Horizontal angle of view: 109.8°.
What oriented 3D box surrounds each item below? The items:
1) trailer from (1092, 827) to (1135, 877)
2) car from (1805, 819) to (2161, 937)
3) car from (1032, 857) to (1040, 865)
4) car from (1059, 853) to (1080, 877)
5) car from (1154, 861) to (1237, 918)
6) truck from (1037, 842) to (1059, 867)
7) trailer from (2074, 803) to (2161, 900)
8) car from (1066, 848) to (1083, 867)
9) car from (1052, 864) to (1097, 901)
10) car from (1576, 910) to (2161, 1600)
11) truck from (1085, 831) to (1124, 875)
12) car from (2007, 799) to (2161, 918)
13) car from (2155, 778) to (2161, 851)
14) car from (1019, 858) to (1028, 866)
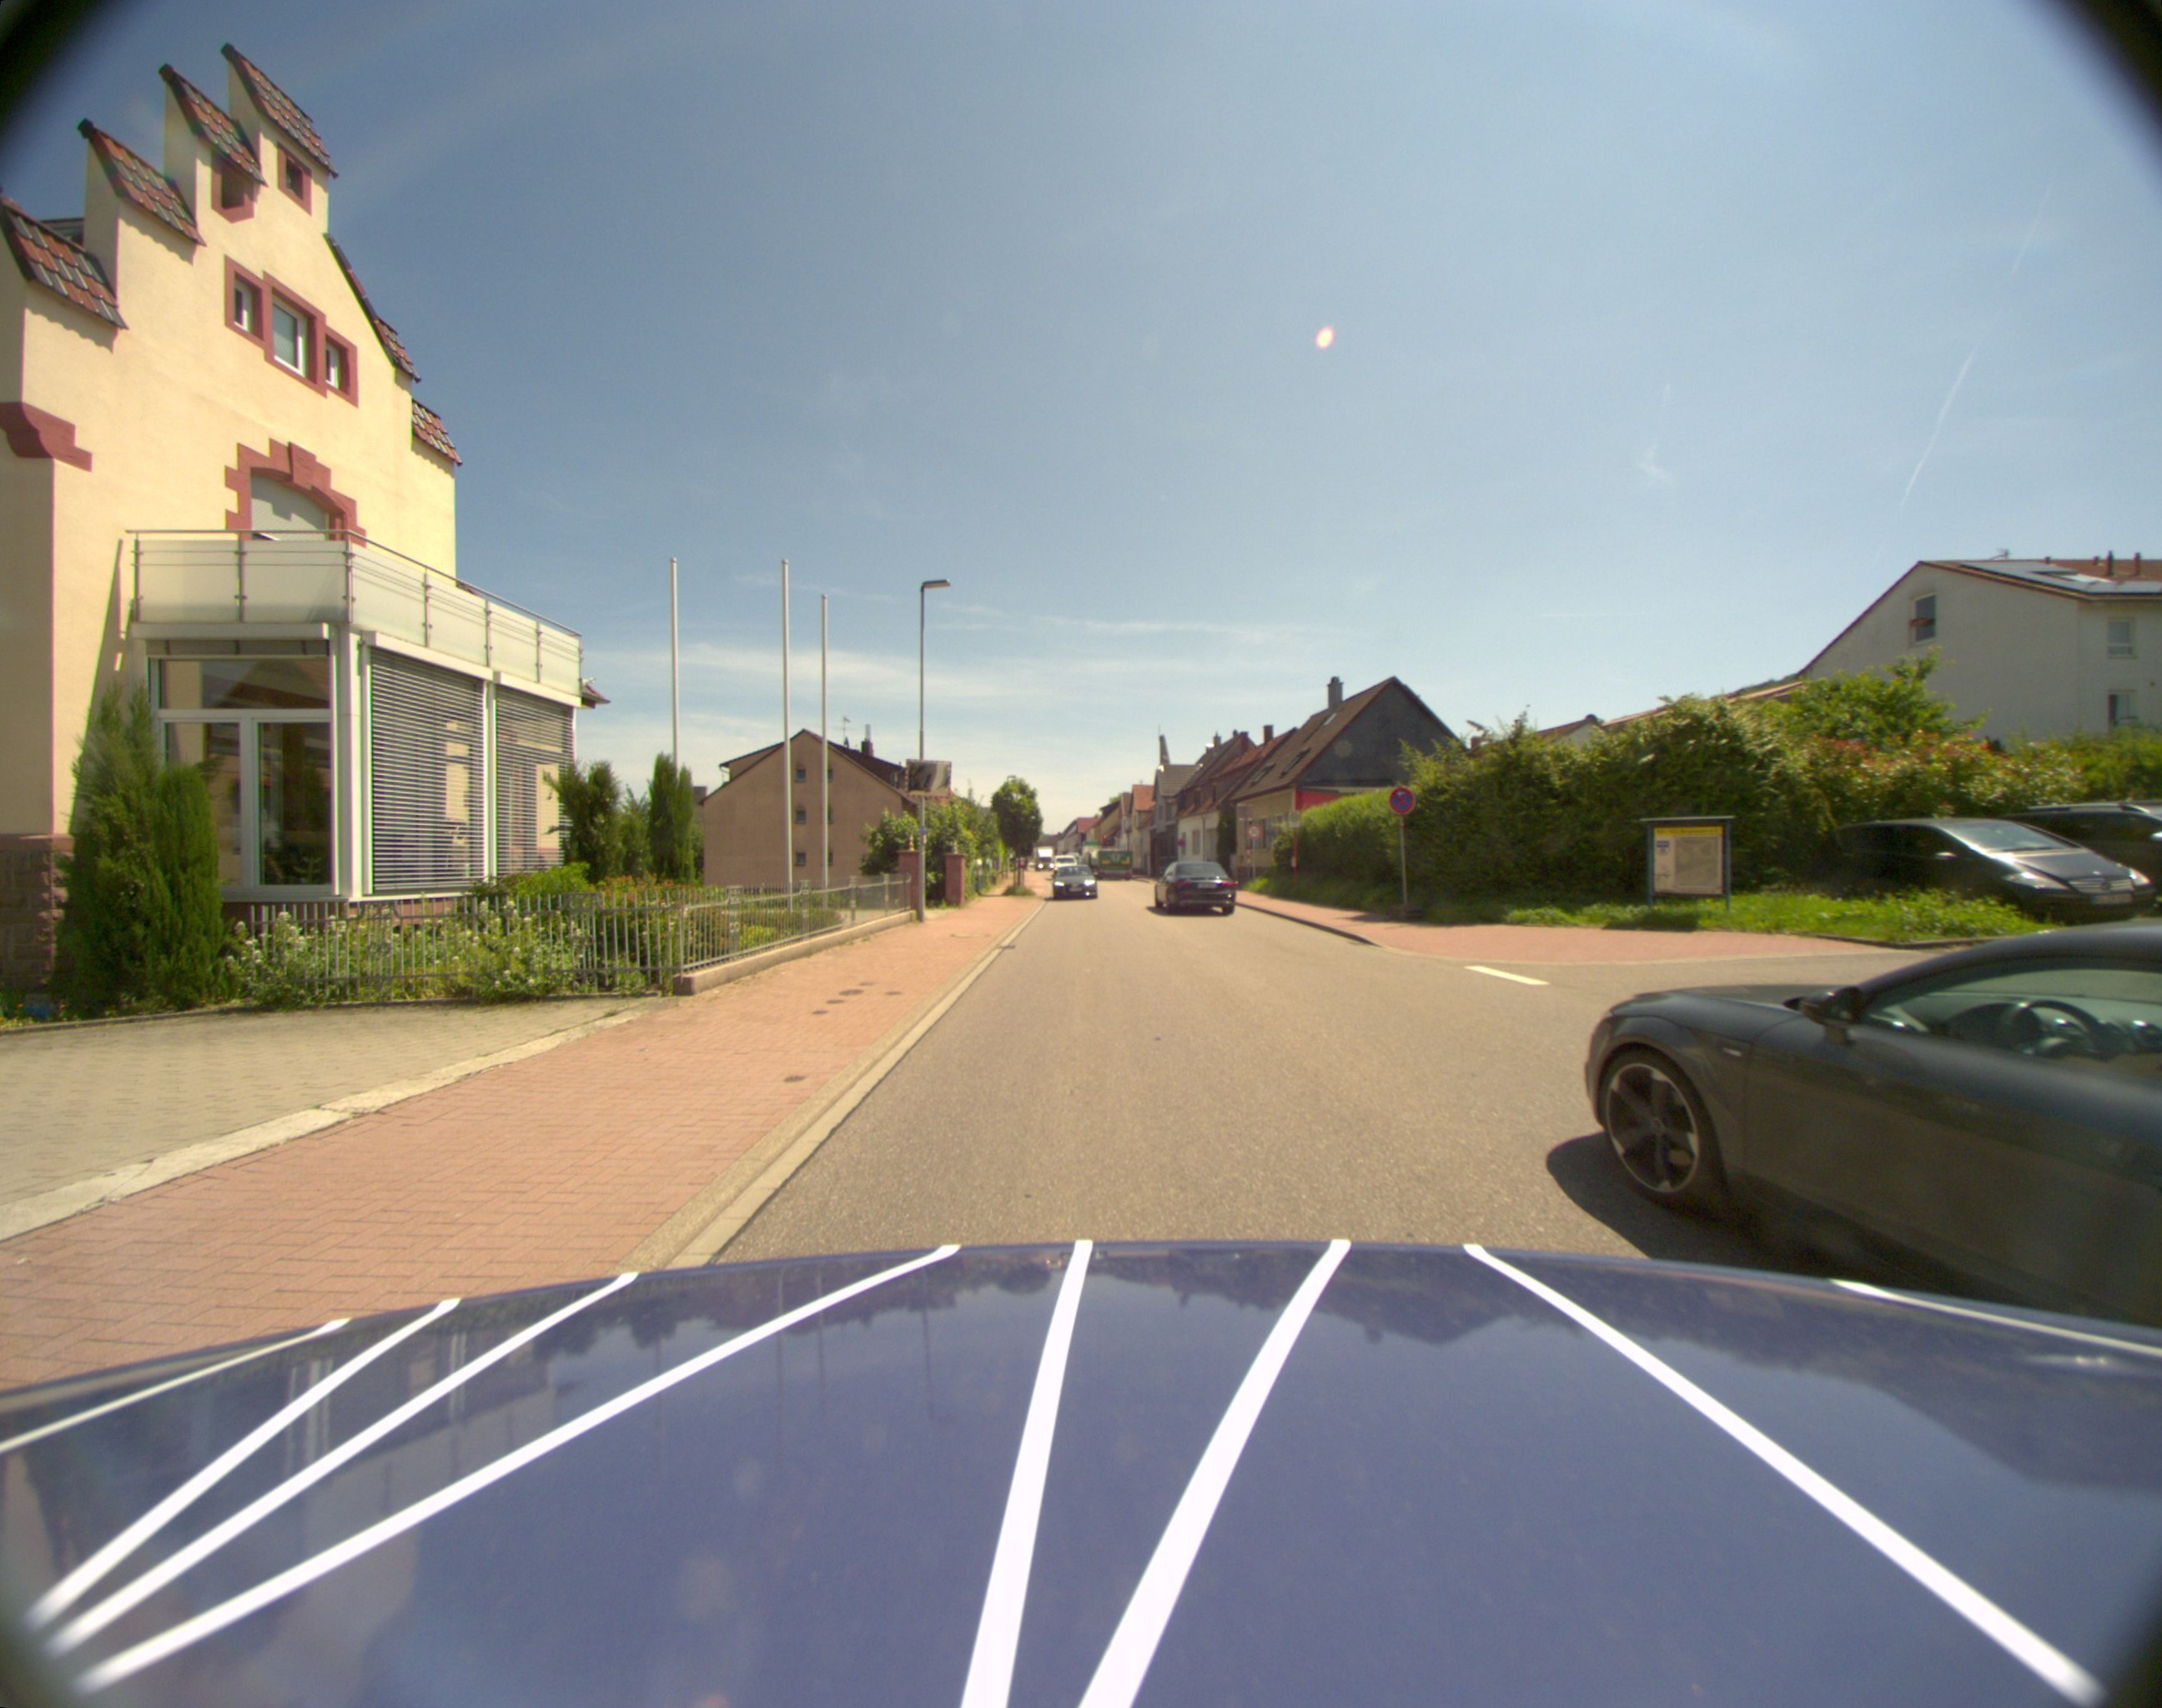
[{"bbox_3d":[2.440,-0.120,59.998,2.537,3.627,8.458,0,0,-4],"label":"trailer"},{"bbox_3d":[14.247,0.326,12.316,1.627,1.531,3.652,-4,0,4],"label":"car"},{"bbox_3d":[-9.304,1.473,157.980,1.508,1.432,3.534,-3,1,-5],"label":"car"},{"bbox_3d":[-0.951,0.890,61.717,1.637,1.833,3.569,-1,0,-2],"label":"car"},{"bbox_3d":[3.263,0.966,22.433,1.734,1.451,4.694,0,0,0],"label":"car"},{"bbox_3d":[-5.092,0.025,114.517,2.899,3.516,12.948,-1,0,-4],"label":"truck"},{"bbox_3d":[19.512,-0.076,12.987,1.430,1.654,2.691,-5,0,-4],"label":"trailer"},{"bbox_3d":[-0.878,0.448,103.098,2.035,2.446,6.066,0,0,-3],"label":"car"},{"bbox_3d":[-0.328,1.129,31.546,1.705,1.346,3.999,-2,0,-2],"label":"car"},{"bbox_3d":[3.223,0.963,1.703,1.710,1.362,3.869,1,0,1],"label":"car"},{"bbox_3d":[2.023,-0.077,69.276,2.574,3.678,10.074,0,0,-4],"label":"truck"},{"bbox_3d":[16.996,0.033,11.542,1.627,1.769,3.511,-4,0,4],"label":"car"},{"bbox_3d":[27.325,-1.015,17.359,3.639,1.724,1.420,-3,1,-2],"label":"car"},{"bbox_3d":[-11.369,1.555,149.732,1.637,1.572,3.568,1,0,-4],"label":"car"}]
